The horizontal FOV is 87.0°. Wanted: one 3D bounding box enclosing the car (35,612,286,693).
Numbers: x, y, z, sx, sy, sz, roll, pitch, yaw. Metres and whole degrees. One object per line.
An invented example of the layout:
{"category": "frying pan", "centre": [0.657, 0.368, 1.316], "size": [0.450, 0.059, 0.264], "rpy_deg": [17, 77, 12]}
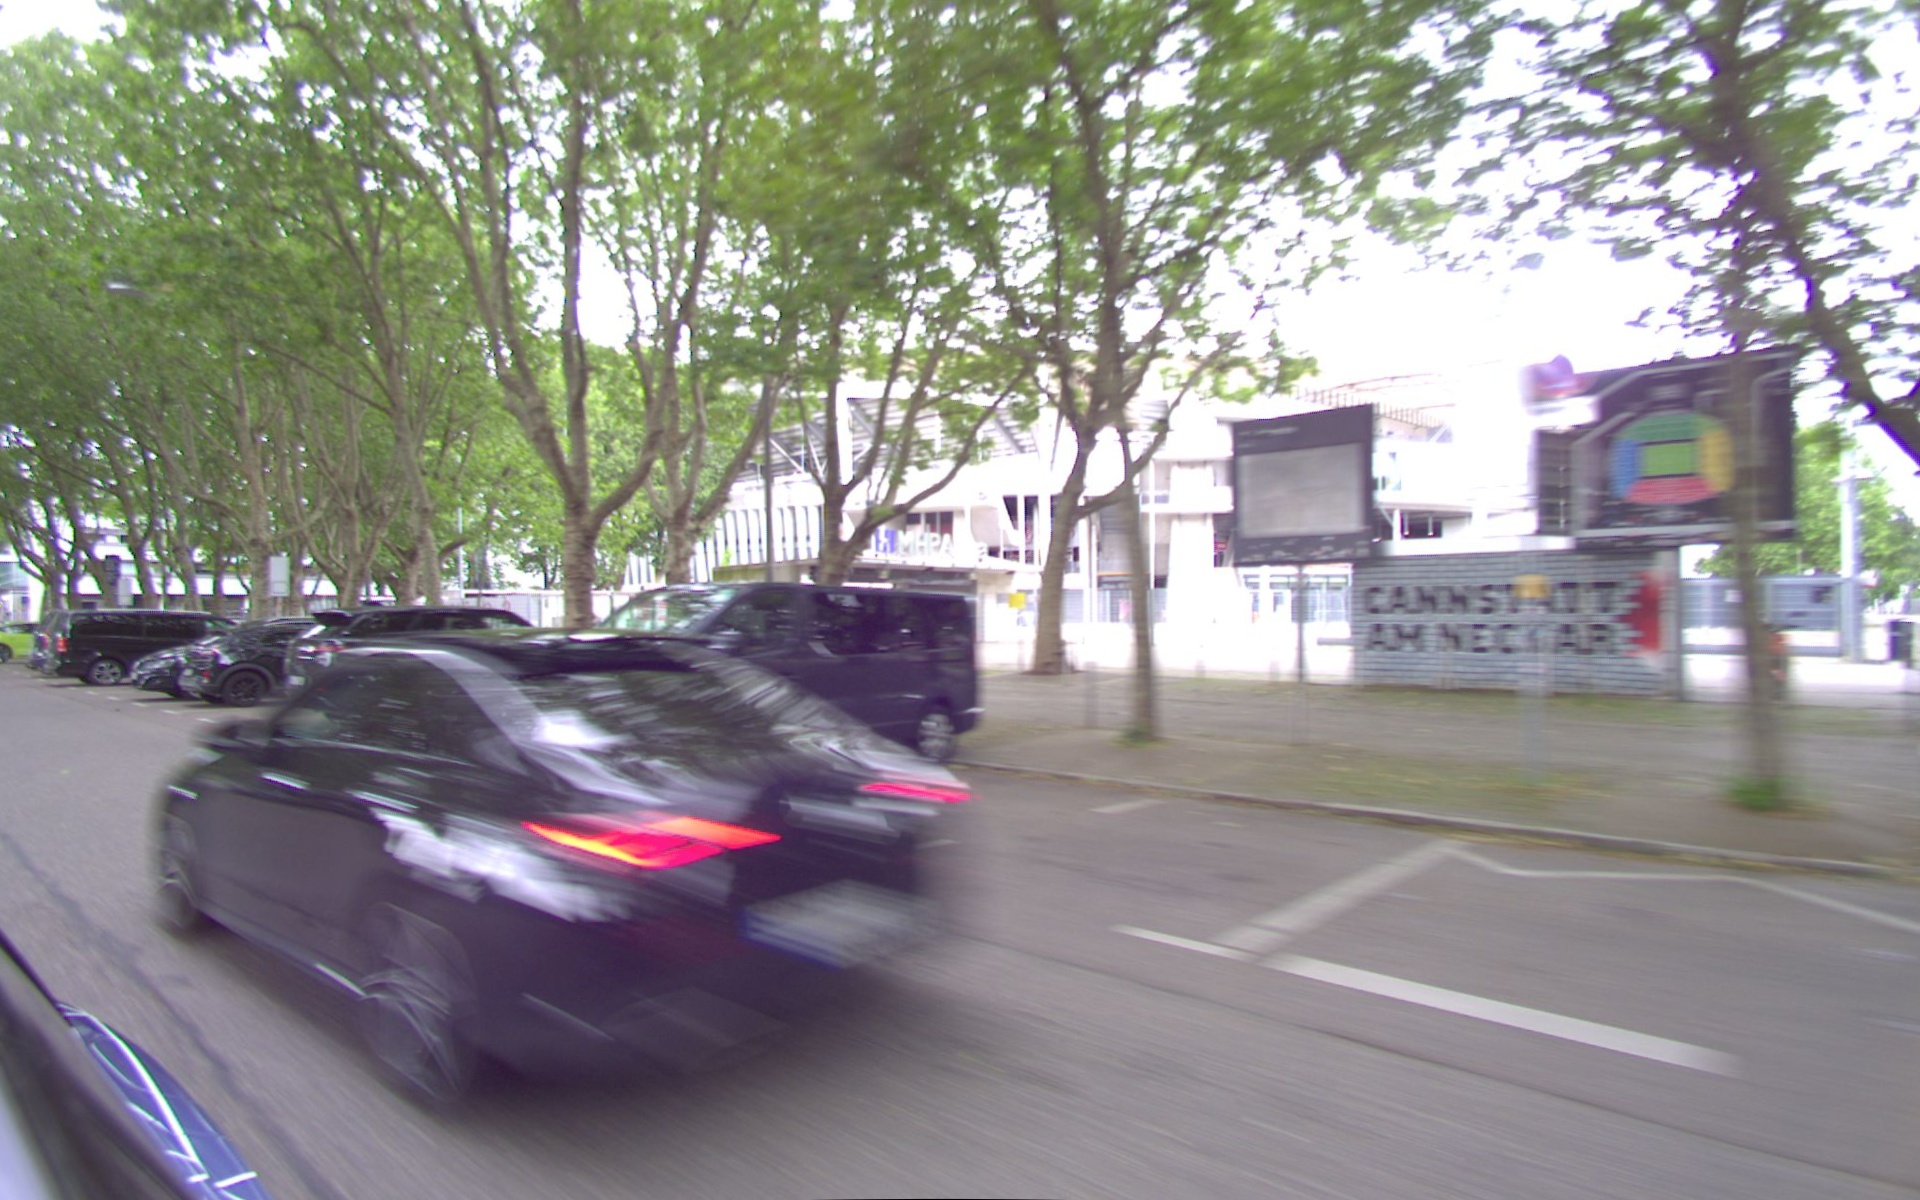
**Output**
{"category": "car", "centre": [-21.002, 1.341, 26.761], "size": [2.207, 1.939, 4.853], "rpy_deg": [-2, -3, 41]}

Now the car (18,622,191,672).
{"category": "car", "centre": [-28.418, 1.565, 33.728], "size": [1.754, 1.581, 4.068], "rpy_deg": [-1, -3, 36]}

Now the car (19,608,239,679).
{"category": "car", "centre": [-24.584, 1.312, 30.104], "size": [2.015, 1.939, 4.715], "rpy_deg": [-2, -3, 39]}

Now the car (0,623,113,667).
{"category": "car", "centre": [-36.116, 1.740, 39.521], "size": [1.758, 1.630, 4.467], "rpy_deg": [-2, -1, 43]}

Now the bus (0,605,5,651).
{"category": "bus", "centre": [-71.680, 2.014, 73.263], "size": [12.366, 3.179, 2.623], "rpy_deg": [-1, -4, 42]}

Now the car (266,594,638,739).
{"category": "car", "centre": [-7.404, 0.974, 15.149], "size": [1.806, 1.834, 4.602], "rpy_deg": [-3, -4, 43]}

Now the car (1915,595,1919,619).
{"category": "car", "centre": [81.568, 0.524, 84.522], "size": [2.191, 1.916, 4.632], "rpy_deg": [-2, -4, 39]}

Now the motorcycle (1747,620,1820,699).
{"category": "motorcycle", "centre": [12.739, 0.888, 15.642], "size": [0.739, 1.151, 1.637], "rpy_deg": [-1, -2, 44]}

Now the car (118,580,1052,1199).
{"category": "car", "centre": [-1.797, 0.715, 4.153], "size": [4.105, 1.374, 1.638], "rpy_deg": [-1, -4, 37]}

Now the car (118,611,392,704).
{"category": "car", "centre": [-15.054, 1.221, 21.832], "size": [1.797, 1.795, 4.529], "rpy_deg": [-3, -4, 42]}

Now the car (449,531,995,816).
{"category": "car", "centre": [-2.023, 0.677, 10.353], "size": [1.938, 2.144, 5.381], "rpy_deg": [-2, -4, 39]}

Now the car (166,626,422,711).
{"category": "car", "centre": [-13.069, 1.307, 20.060], "size": [1.752, 1.505, 3.859], "rpy_deg": [-1, -3, 39]}
